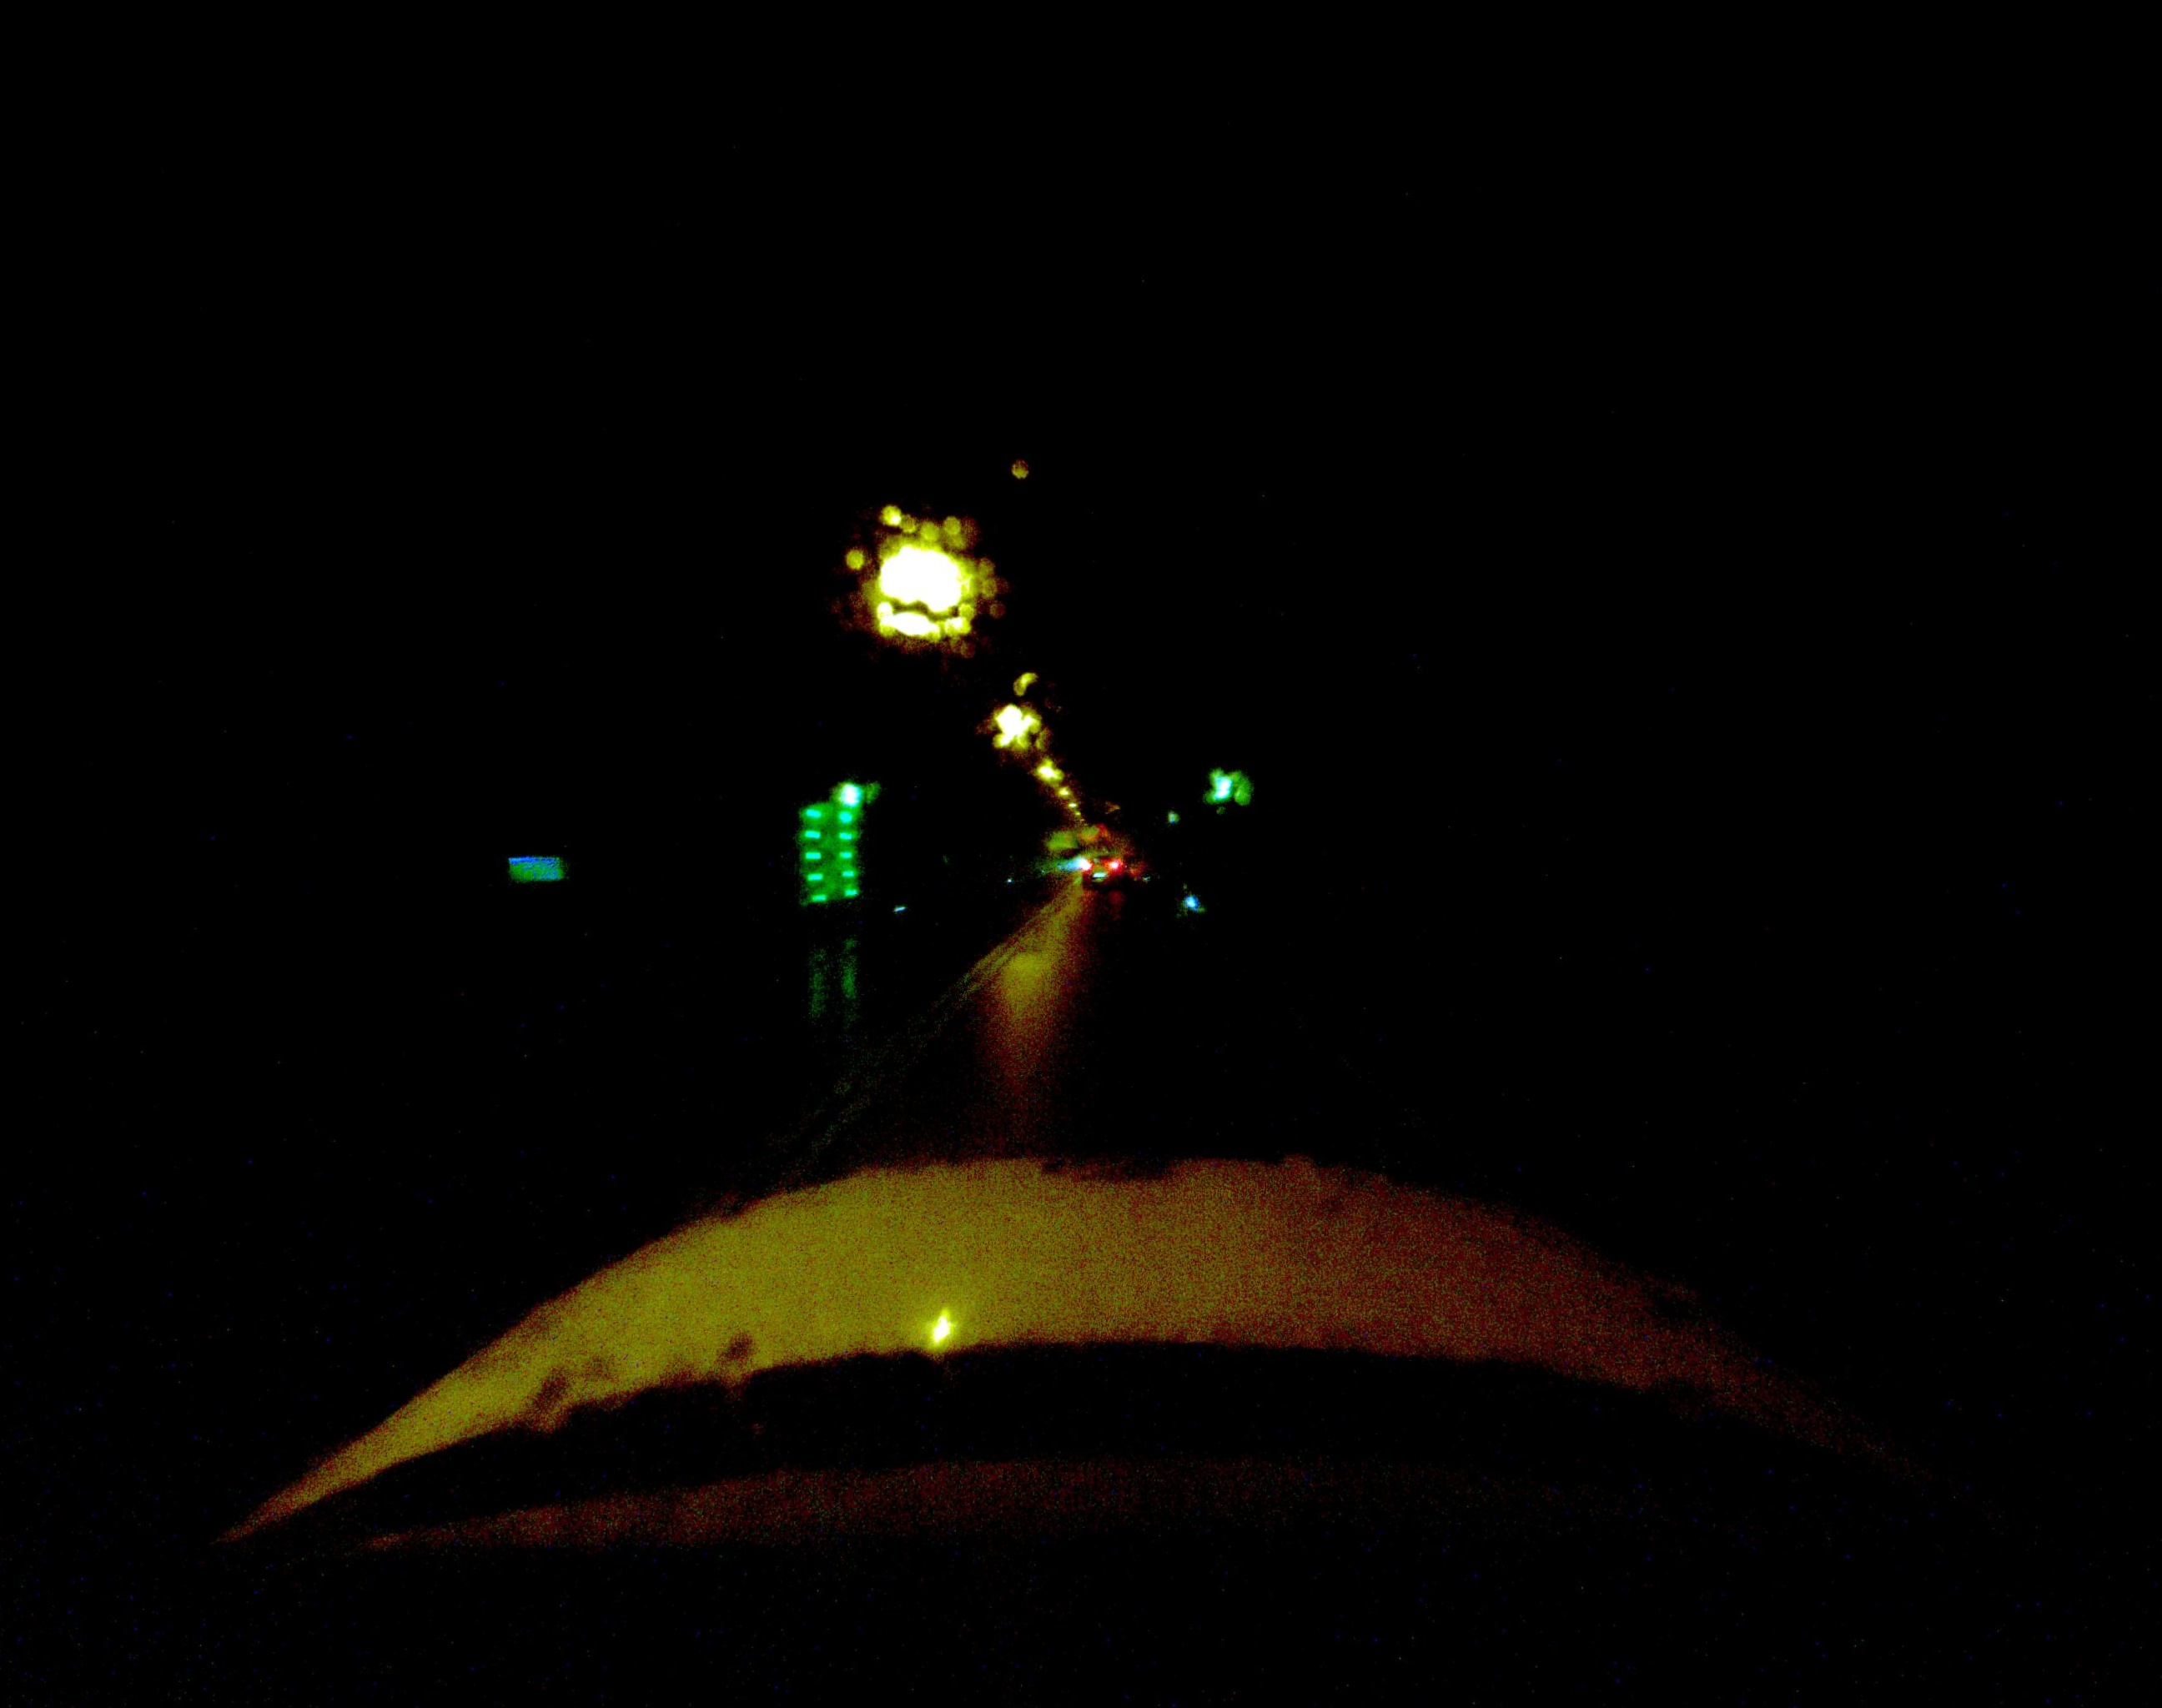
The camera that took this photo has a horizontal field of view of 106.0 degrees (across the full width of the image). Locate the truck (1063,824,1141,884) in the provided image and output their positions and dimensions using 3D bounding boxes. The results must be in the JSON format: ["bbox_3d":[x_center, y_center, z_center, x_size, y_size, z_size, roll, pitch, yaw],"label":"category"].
[{"bbox_3d":[1.101,0.031,41.554,3.521,2.693,8.960,-1,0,2],"label":"truck"}]
